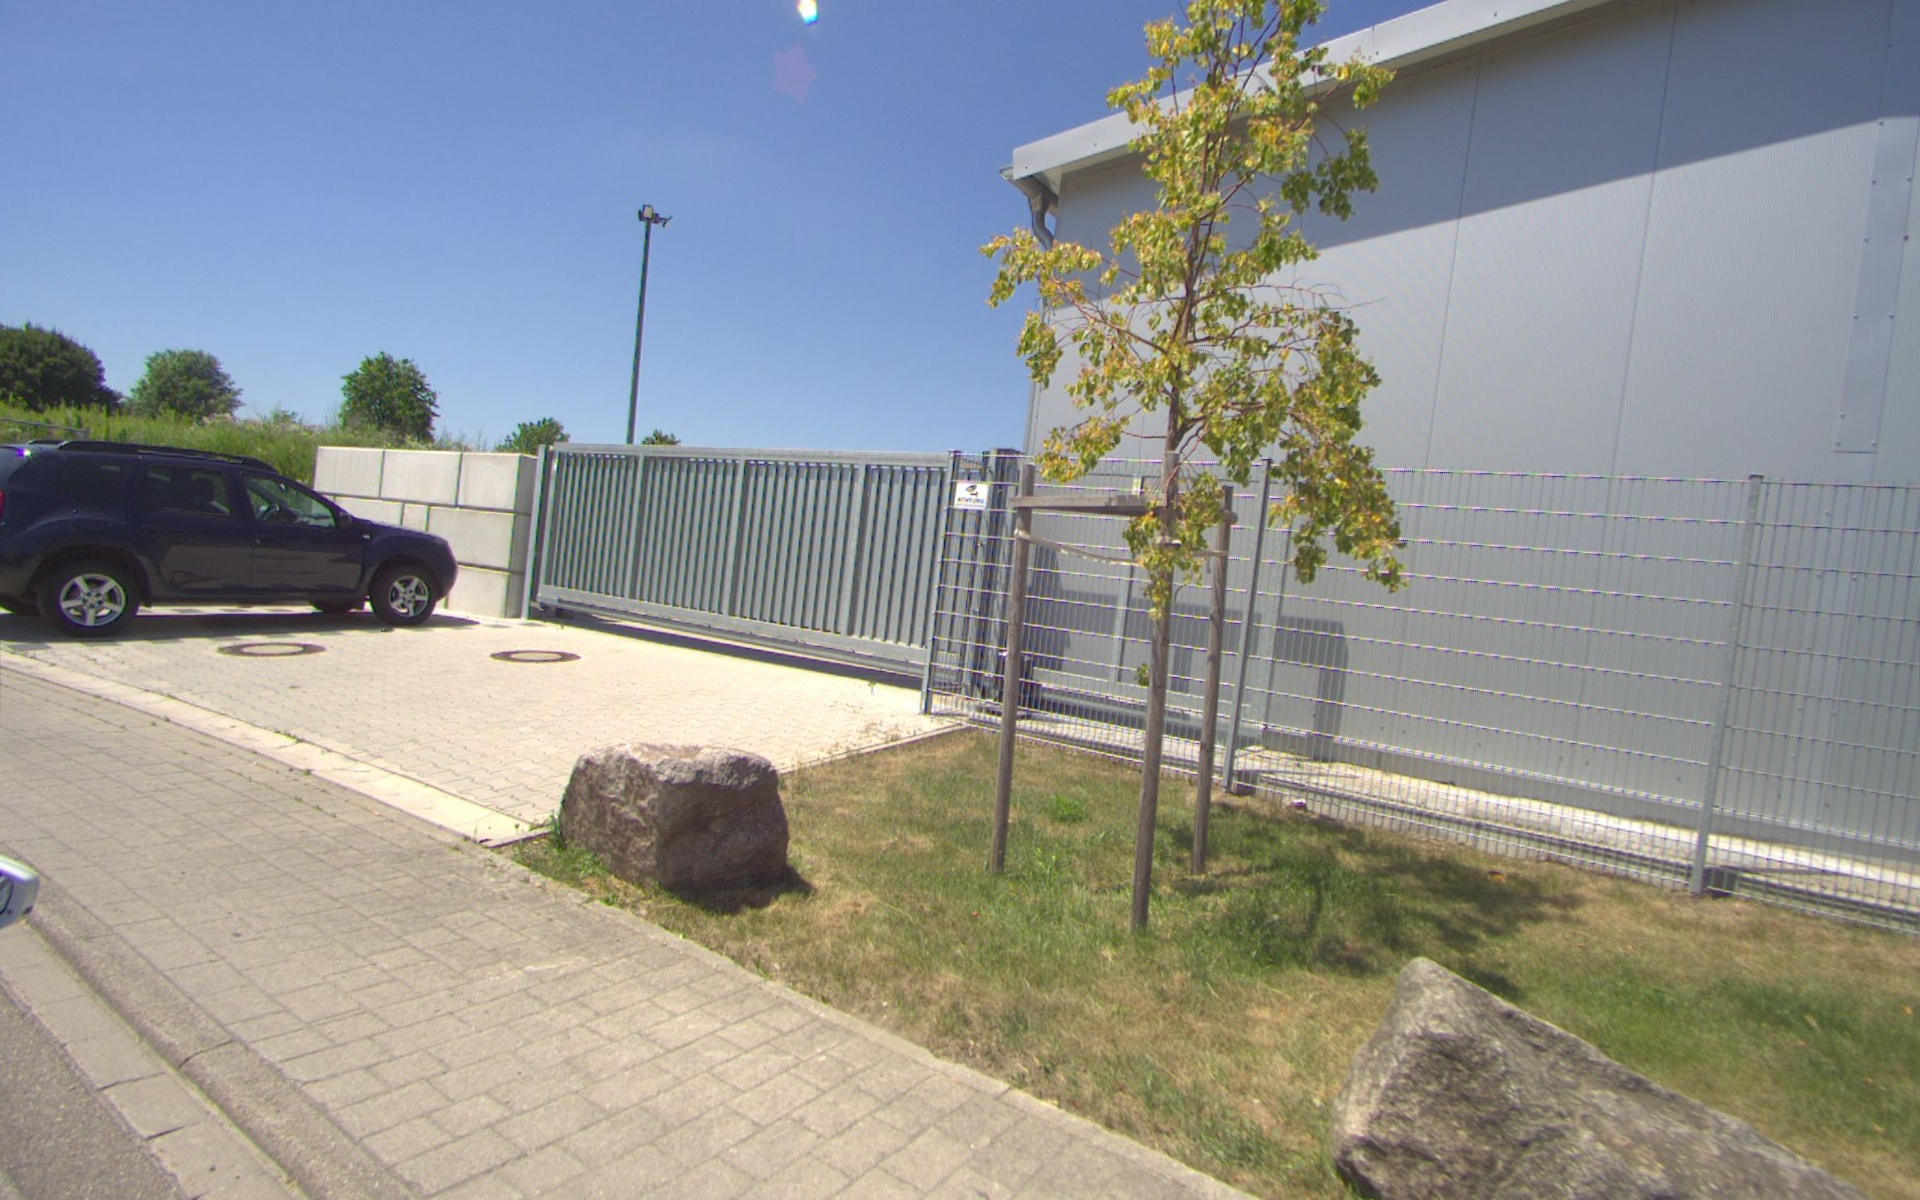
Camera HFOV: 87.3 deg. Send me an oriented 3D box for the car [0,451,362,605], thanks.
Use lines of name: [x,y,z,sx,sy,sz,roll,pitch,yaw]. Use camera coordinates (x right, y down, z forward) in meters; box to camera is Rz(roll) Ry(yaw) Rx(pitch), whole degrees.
car: [-9.468,-0.808,11.578,1.862,1.482,4.007,8,4,33]

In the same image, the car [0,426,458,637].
car: [-7.418,-0.674,9.943,1.828,1.679,4.003,8,6,33]
